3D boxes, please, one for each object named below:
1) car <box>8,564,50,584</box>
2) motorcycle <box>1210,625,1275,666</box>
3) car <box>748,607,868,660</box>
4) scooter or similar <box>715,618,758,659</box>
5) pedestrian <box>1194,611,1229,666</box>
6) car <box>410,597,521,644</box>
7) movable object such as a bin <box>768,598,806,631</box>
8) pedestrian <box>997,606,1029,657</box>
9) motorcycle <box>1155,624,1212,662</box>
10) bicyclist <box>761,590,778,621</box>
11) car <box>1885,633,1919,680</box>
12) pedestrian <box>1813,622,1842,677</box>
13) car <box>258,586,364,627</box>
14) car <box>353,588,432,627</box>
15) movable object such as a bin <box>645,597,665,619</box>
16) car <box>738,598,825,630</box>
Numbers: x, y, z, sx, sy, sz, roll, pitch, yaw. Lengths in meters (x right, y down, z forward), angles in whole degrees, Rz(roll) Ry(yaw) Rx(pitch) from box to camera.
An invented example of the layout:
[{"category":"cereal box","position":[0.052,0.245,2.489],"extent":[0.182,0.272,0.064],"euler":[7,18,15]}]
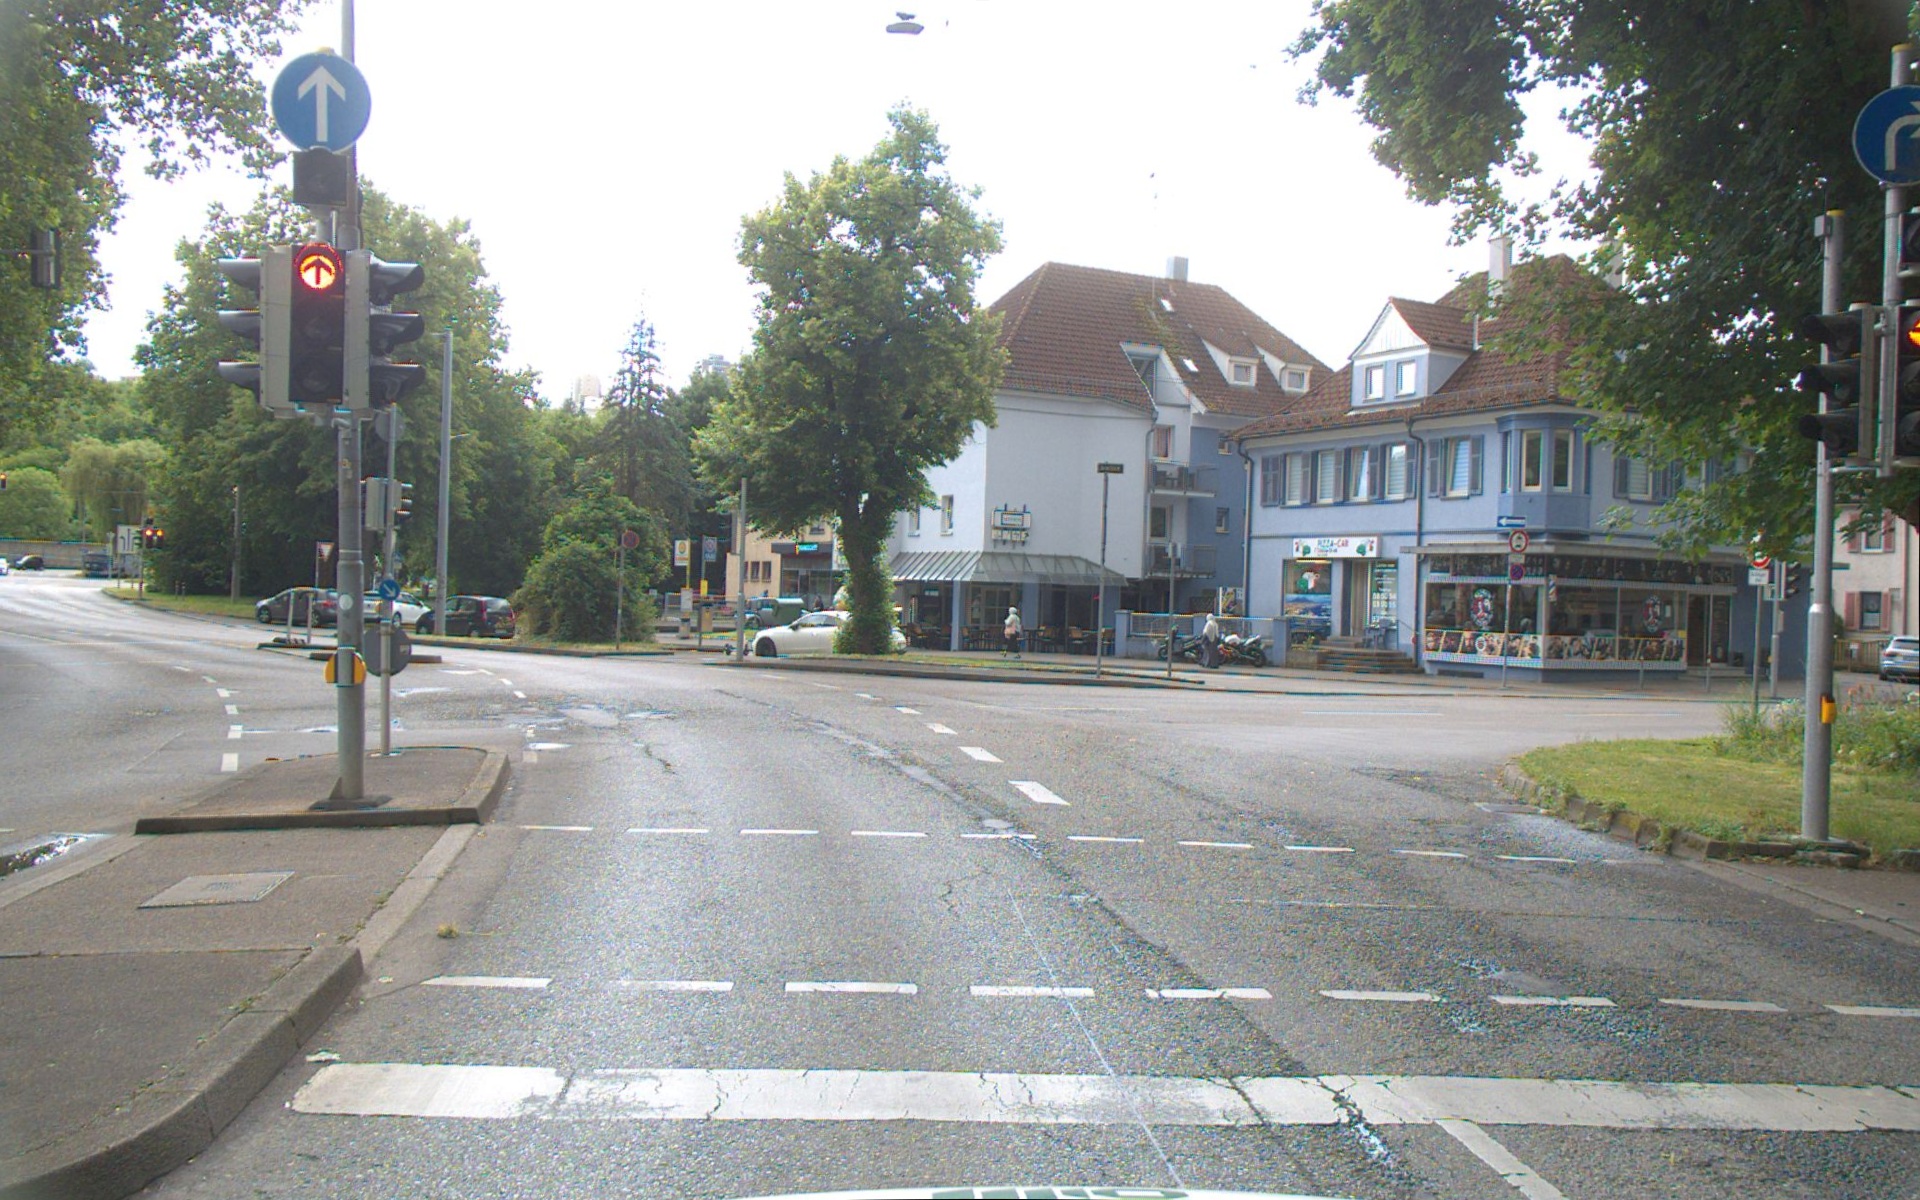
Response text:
[{"category":"car","position":[-102.203,-2.804,181.501],"extent":[3.948,2.049,1.978],"euler":[1,0,-32]},{"category":"motorcycle","position":[8.274,1.314,48.481],"extent":[1.765,1.141,0.692],"euler":[1,0,38]},{"category":"car","position":[-4.244,0.921,45.960],"extent":[3.110,1.378,1.435],"euler":[1,0,34]},{"category":"scooter or similar","position":[-5.730,0.985,42.543],"extent":[0.408,1.029,1.567],"euler":[1,0,20]},{"category":"pedestrian","position":[7.258,1.101,47.742],"extent":[0.754,1.572,0.675],"euler":[1,-1,38]},{"category":"car","position":[-16.006,0.664,53.465],"extent":[3.519,1.418,1.468],"euler":[1,0,32]},{"category":"movable object such as a bin","position":[-7.715,0.665,73.843],"extent":[1.424,1.433,0.959],"euler":[1,0,-27]},{"category":"pedestrian","position":[1.656,0.983,51.863],"extent":[0.694,1.572,0.675],"euler":[1,0,39]},{"category":"motorcycle","position":[6.793,1.297,50.238],"extent":[1.609,1.082,0.690],"euler":[1,0,44]},{"category":"bicyclist","position":[-9.710,0.267,84.310],"extent":[0.586,1.568,0.739],"euler":[1,0,24]},{"category":"car","position":[29.853,1.741,51.412],"extent":[1.471,1.393,3.164],"euler":[1,0,38]},{"category":"pedestrian","position":[24.907,1.416,47.473],"extent":[0.451,1.544,0.584],"euler":[1,-1,-21]},{"category":"car","position":[-24.857,0.251,63.397],"extent":[3.469,1.490,1.586],"euler":[1,0,12]},{"category":"car","position":[-22.666,0.313,66.187],"extent":[1.512,1.490,3.398],"euler":[1,0,10]},{"category":"movable object such as a bin","position":[-15.849,0.404,85.917],"extent":[0.937,1.135,0.381],"euler":[1,0,-22]},{"category":"car","position":[-8.155,0.649,75.734],"extent":[3.690,1.368,1.421],"euler":[1,0,-27]}]
